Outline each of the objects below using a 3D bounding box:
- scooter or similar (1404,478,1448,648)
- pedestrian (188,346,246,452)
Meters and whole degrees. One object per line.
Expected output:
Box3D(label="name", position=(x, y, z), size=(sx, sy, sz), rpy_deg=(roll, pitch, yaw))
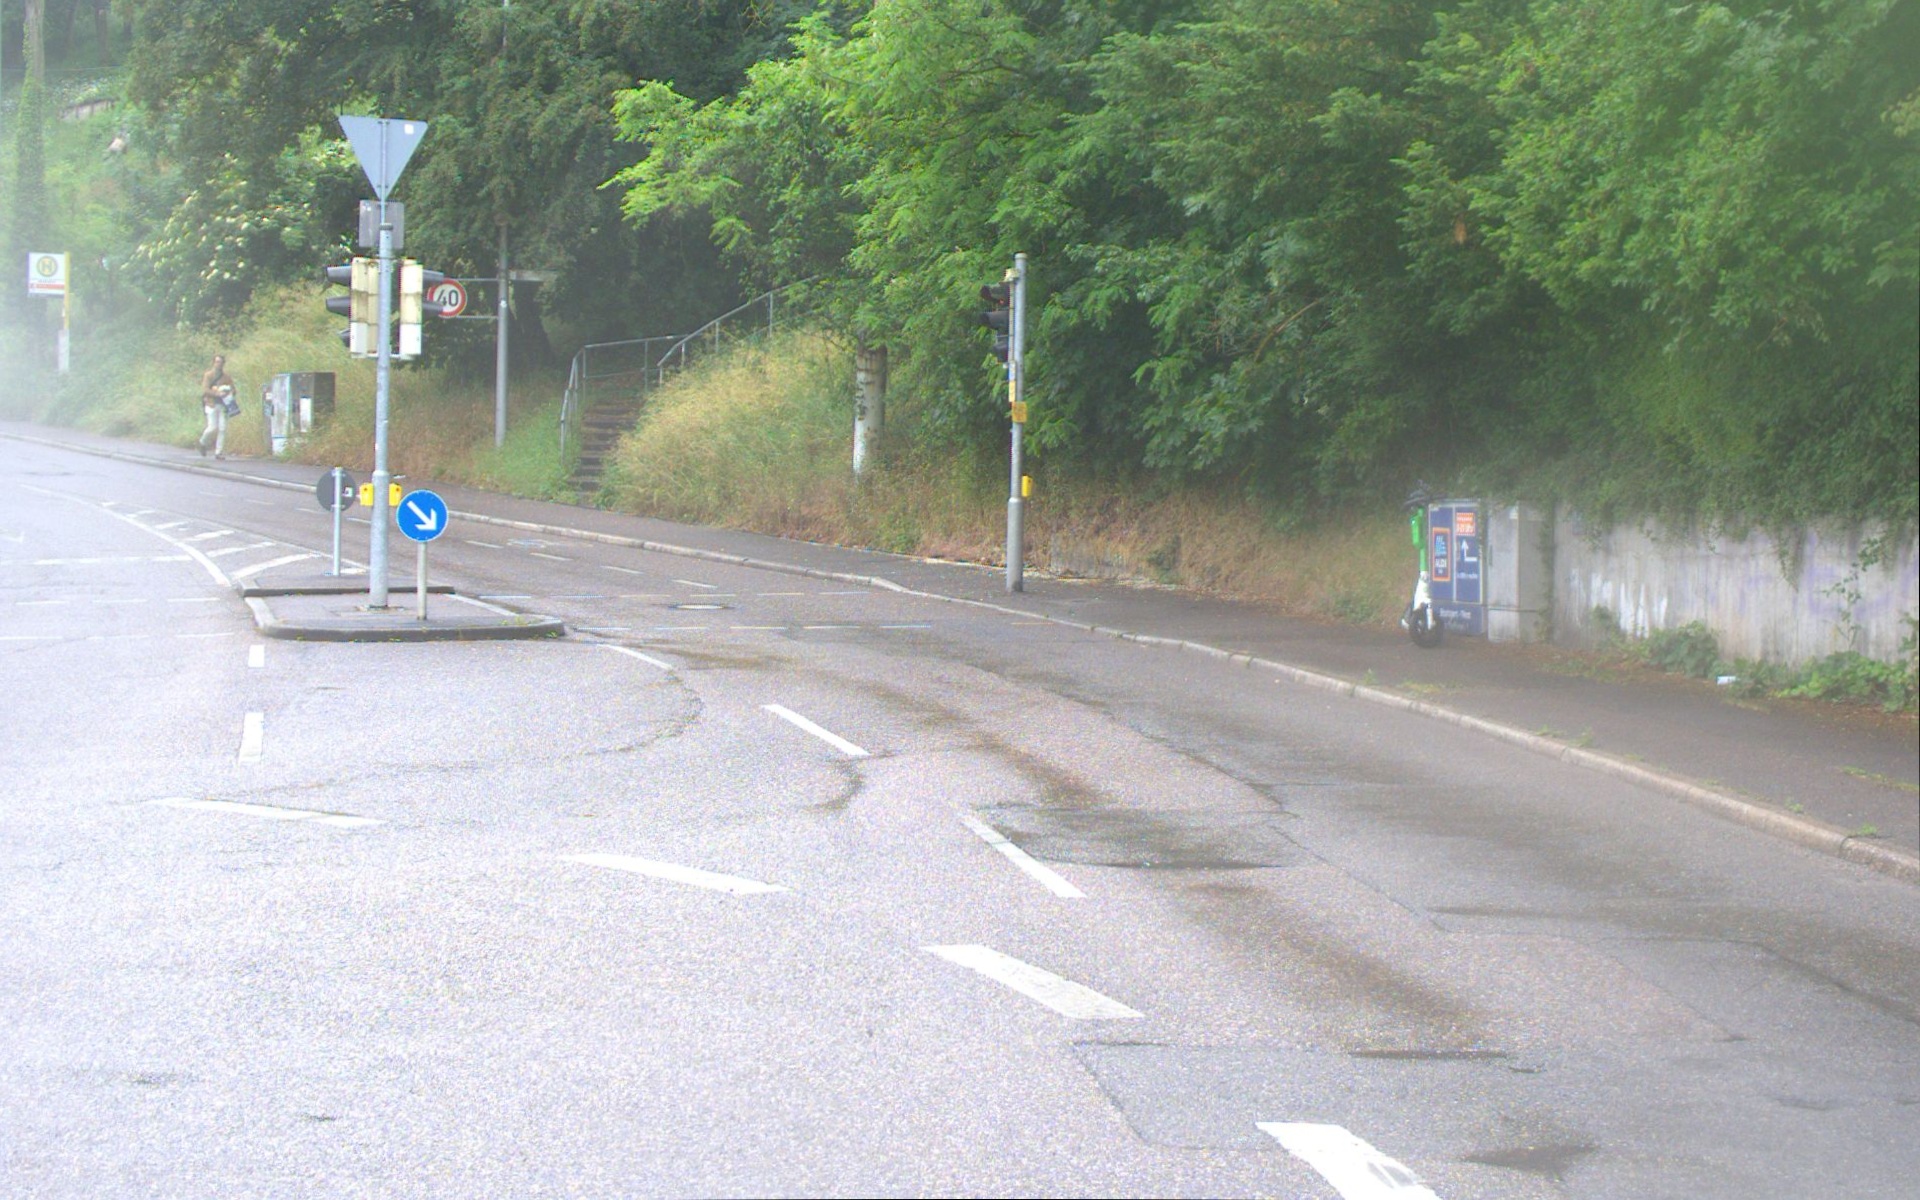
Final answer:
Box3D(label="scooter or similar", position=(3.588, -0.294, 26.479), size=(0.322, 1.275, 0.751), rpy_deg=(0, 4, 7))
Box3D(label="pedestrian", position=(-12.566, -3.388, 58.133), size=(0.880, 1.730, 0.866), rpy_deg=(0, 0, -17))
